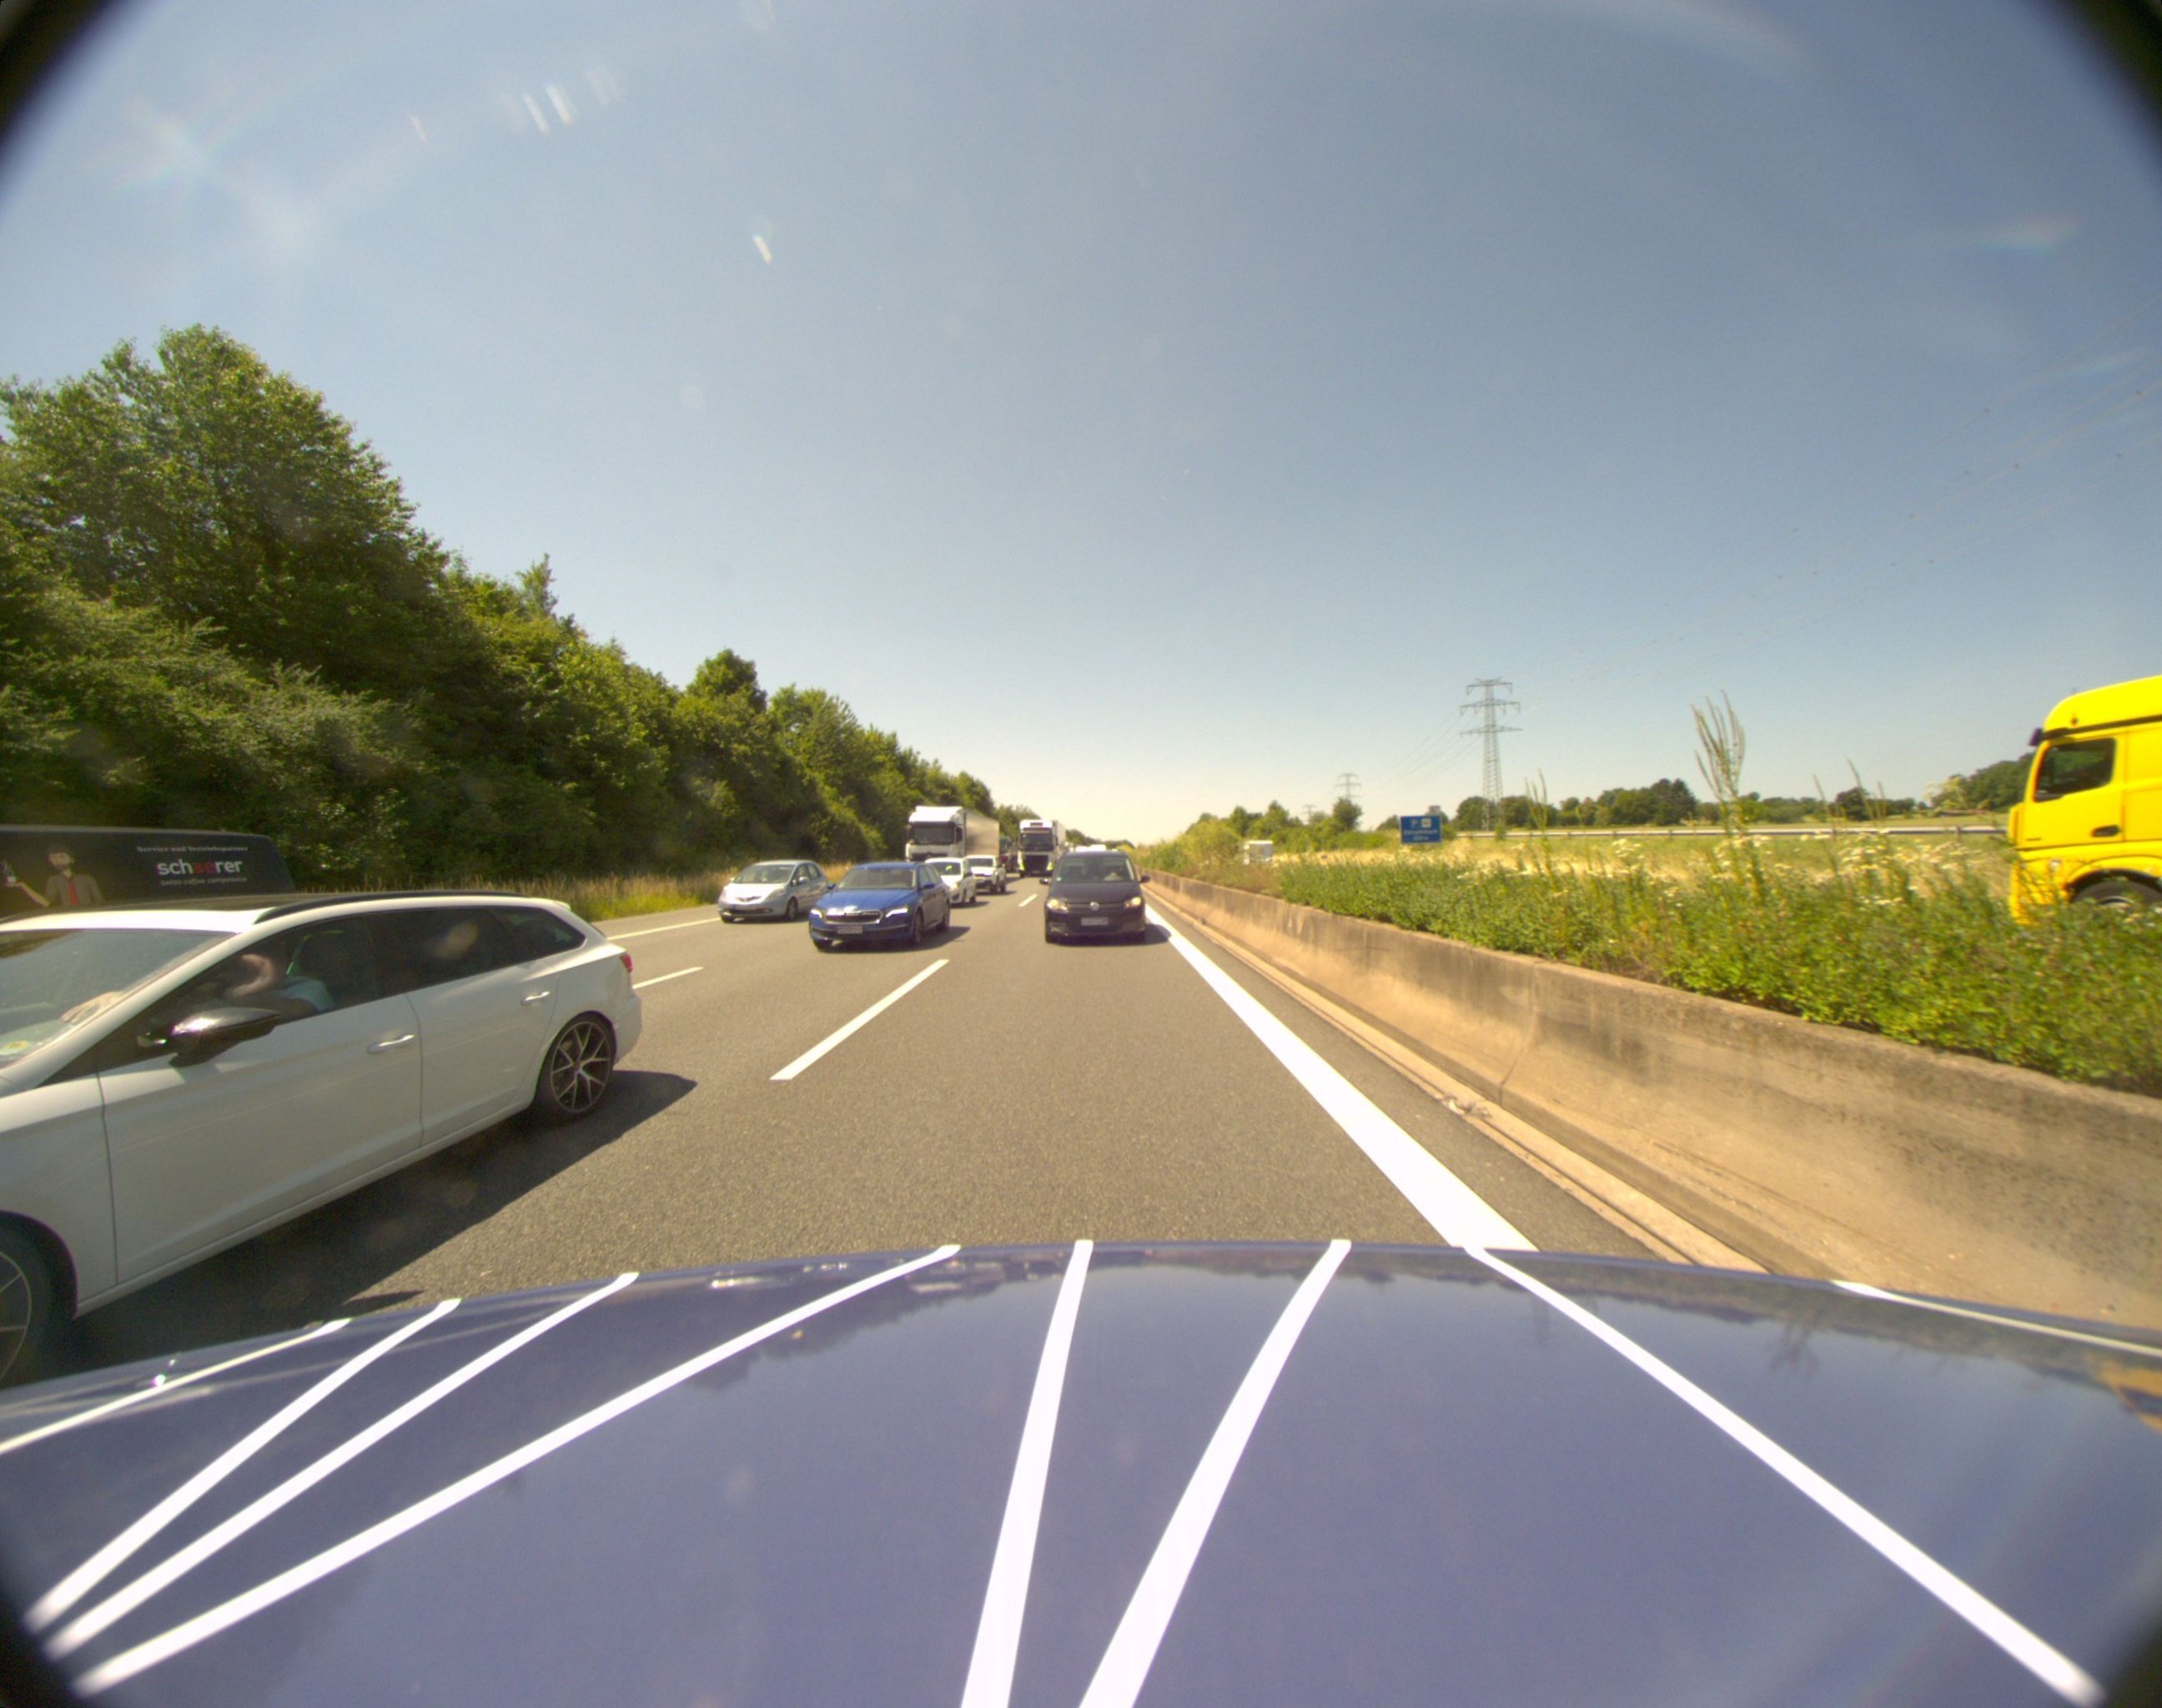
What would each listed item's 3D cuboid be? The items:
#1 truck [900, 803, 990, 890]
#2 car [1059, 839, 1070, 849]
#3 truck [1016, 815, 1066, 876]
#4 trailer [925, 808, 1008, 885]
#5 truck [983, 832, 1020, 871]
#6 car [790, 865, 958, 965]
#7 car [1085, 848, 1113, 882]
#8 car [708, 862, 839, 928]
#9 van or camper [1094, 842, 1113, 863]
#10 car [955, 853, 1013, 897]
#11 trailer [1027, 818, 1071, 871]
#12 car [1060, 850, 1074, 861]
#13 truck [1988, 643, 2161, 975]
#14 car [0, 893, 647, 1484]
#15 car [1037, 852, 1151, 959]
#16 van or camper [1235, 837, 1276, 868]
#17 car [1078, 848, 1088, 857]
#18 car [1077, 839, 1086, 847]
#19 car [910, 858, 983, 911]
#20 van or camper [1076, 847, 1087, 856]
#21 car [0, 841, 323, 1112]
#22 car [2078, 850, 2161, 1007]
[{"bbox_3d":[-7.091,-0.396,40.977,2.880,4.133,8.475,-2,1,2],"label":"truck"},{"bbox_3d":[-3.441,-2.166,157.876,1.998,2.002,4.000,-2,1,1],"label":"car"},{"bbox_3d":[-2.753,-0.610,54.926,2.750,3.972,8.360,-2,1,2],"label":"truck"},{"bbox_3d":[-6.885,-0.480,47.966,2.880,4.133,12.075,-2,1,2],"label":"trailer"},{"bbox_3d":[-6.693,-0.222,64.905,2.299,3.128,5.675,-2,1,2],"label":"truck"},{"bbox_3d":[-3.609,0.983,14.159,1.780,1.408,4.572,-1,1,1],"label":"car"},{"bbox_3d":[0.978,0.551,40.673,1.357,1.630,2.994,-3,1,2],"label":"car"},{"bbox_3d":[-7.763,0.969,19.577,1.666,1.453,3.922,-1,0,2],"label":"car"},{"bbox_3d":[2.596,-0.200,87.982,1.956,2.368,4.037,-3,1,2],"label":"van or camper"},{"bbox_3d":[-3.818,0.796,30.437,1.748,1.549,3.884,-1,1,1],"label":"car"},{"bbox_3d":[-2.490,-0.755,62.279,2.776,3.951,9.156,-2,1,2],"label":"trailer"},{"bbox_3d":[-1.882,0.212,101.774,1.650,1.336,3.381,-2,1,2],"label":"car"},{"bbox_3d":[15.080,-0.594,7.806,2.785,4.212,7.324,-3,1,1],"label":"truck"},{"bbox_3d":[-3.885,1.042,3.002,1.752,1.435,4.313,-1,1,1],"label":"car"},{"bbox_3d":[0.263,0.811,14.616,1.758,1.571,5.290,-1,1,1],"label":"car"},{"bbox_3d":[17.232,-0.226,75.296,2.558,2.822,7.066,-3,1,2],"label":"van or camper"},{"bbox_3d":[0.423,-0.234,148.620,1.652,1.636,4.000,-2,1,2],"label":"car"},{"bbox_3d":[0.032,-2.669,182.686,1.998,2.002,4.000,-2,1,2],"label":"car"},{"bbox_3d":[-4.135,0.886,23.905,1.609,1.426,3.809,-1,1,0],"label":"car"},{"bbox_3d":[0.220,-0.551,166.382,2.190,2.018,4.364,-2,1,2],"label":"van or camper"},{"bbox_3d":[-8.700,0.905,5.252,1.918,1.929,4.855,-1,1,1],"label":"car"},{"bbox_3d":[11.131,0.685,5.717,1.874,1.457,4.099,-2,0,1],"label":"car"}]
